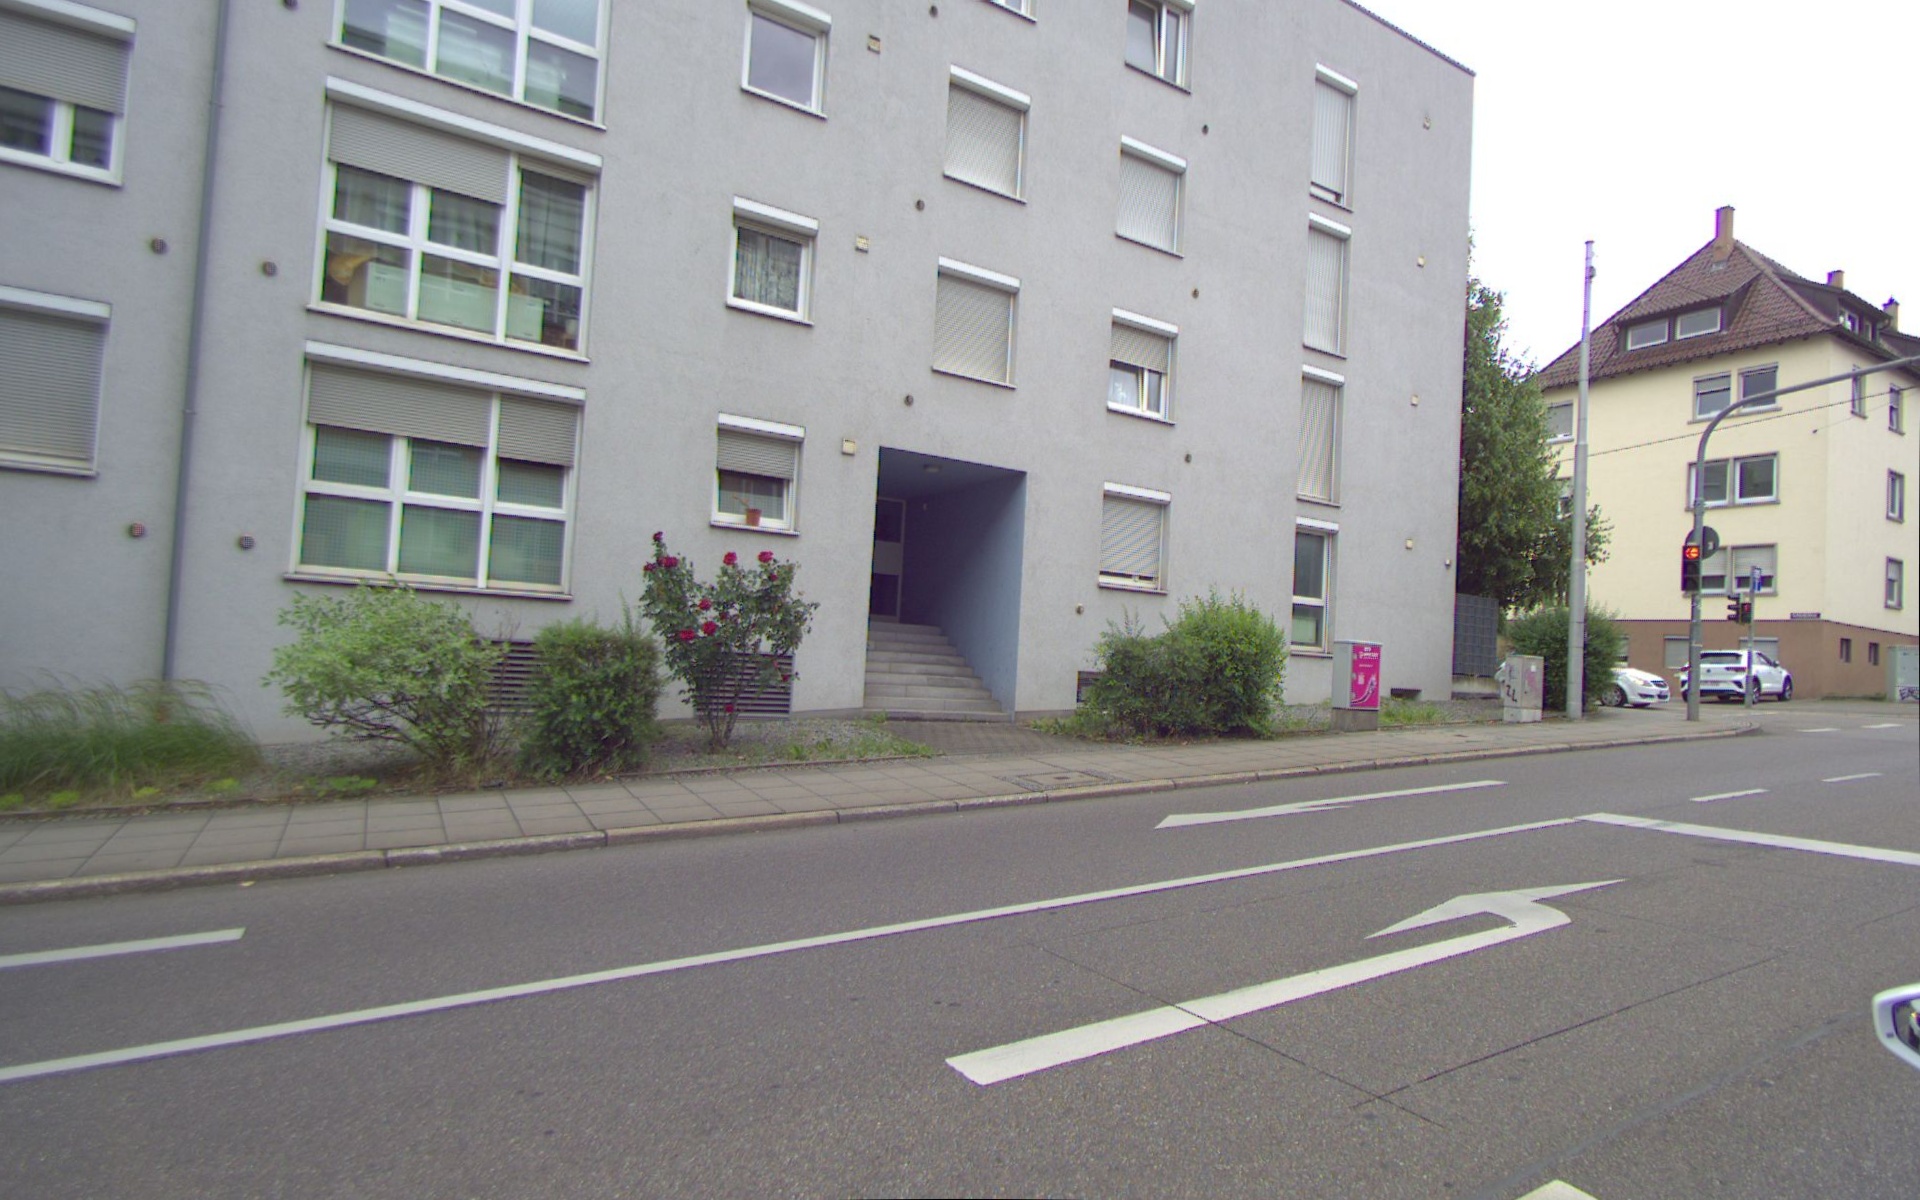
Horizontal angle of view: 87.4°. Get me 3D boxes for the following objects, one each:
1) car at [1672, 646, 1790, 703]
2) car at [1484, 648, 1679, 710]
[{"bbox_3d":[23.043,2.196,29.999,3.727,1.575,1.681,1,-4,-34],"label":"car"},{"bbox_3d":[16.104,1.996,26.216,1.678,1.411,4.032,2,-2,-33],"label":"car"}]
